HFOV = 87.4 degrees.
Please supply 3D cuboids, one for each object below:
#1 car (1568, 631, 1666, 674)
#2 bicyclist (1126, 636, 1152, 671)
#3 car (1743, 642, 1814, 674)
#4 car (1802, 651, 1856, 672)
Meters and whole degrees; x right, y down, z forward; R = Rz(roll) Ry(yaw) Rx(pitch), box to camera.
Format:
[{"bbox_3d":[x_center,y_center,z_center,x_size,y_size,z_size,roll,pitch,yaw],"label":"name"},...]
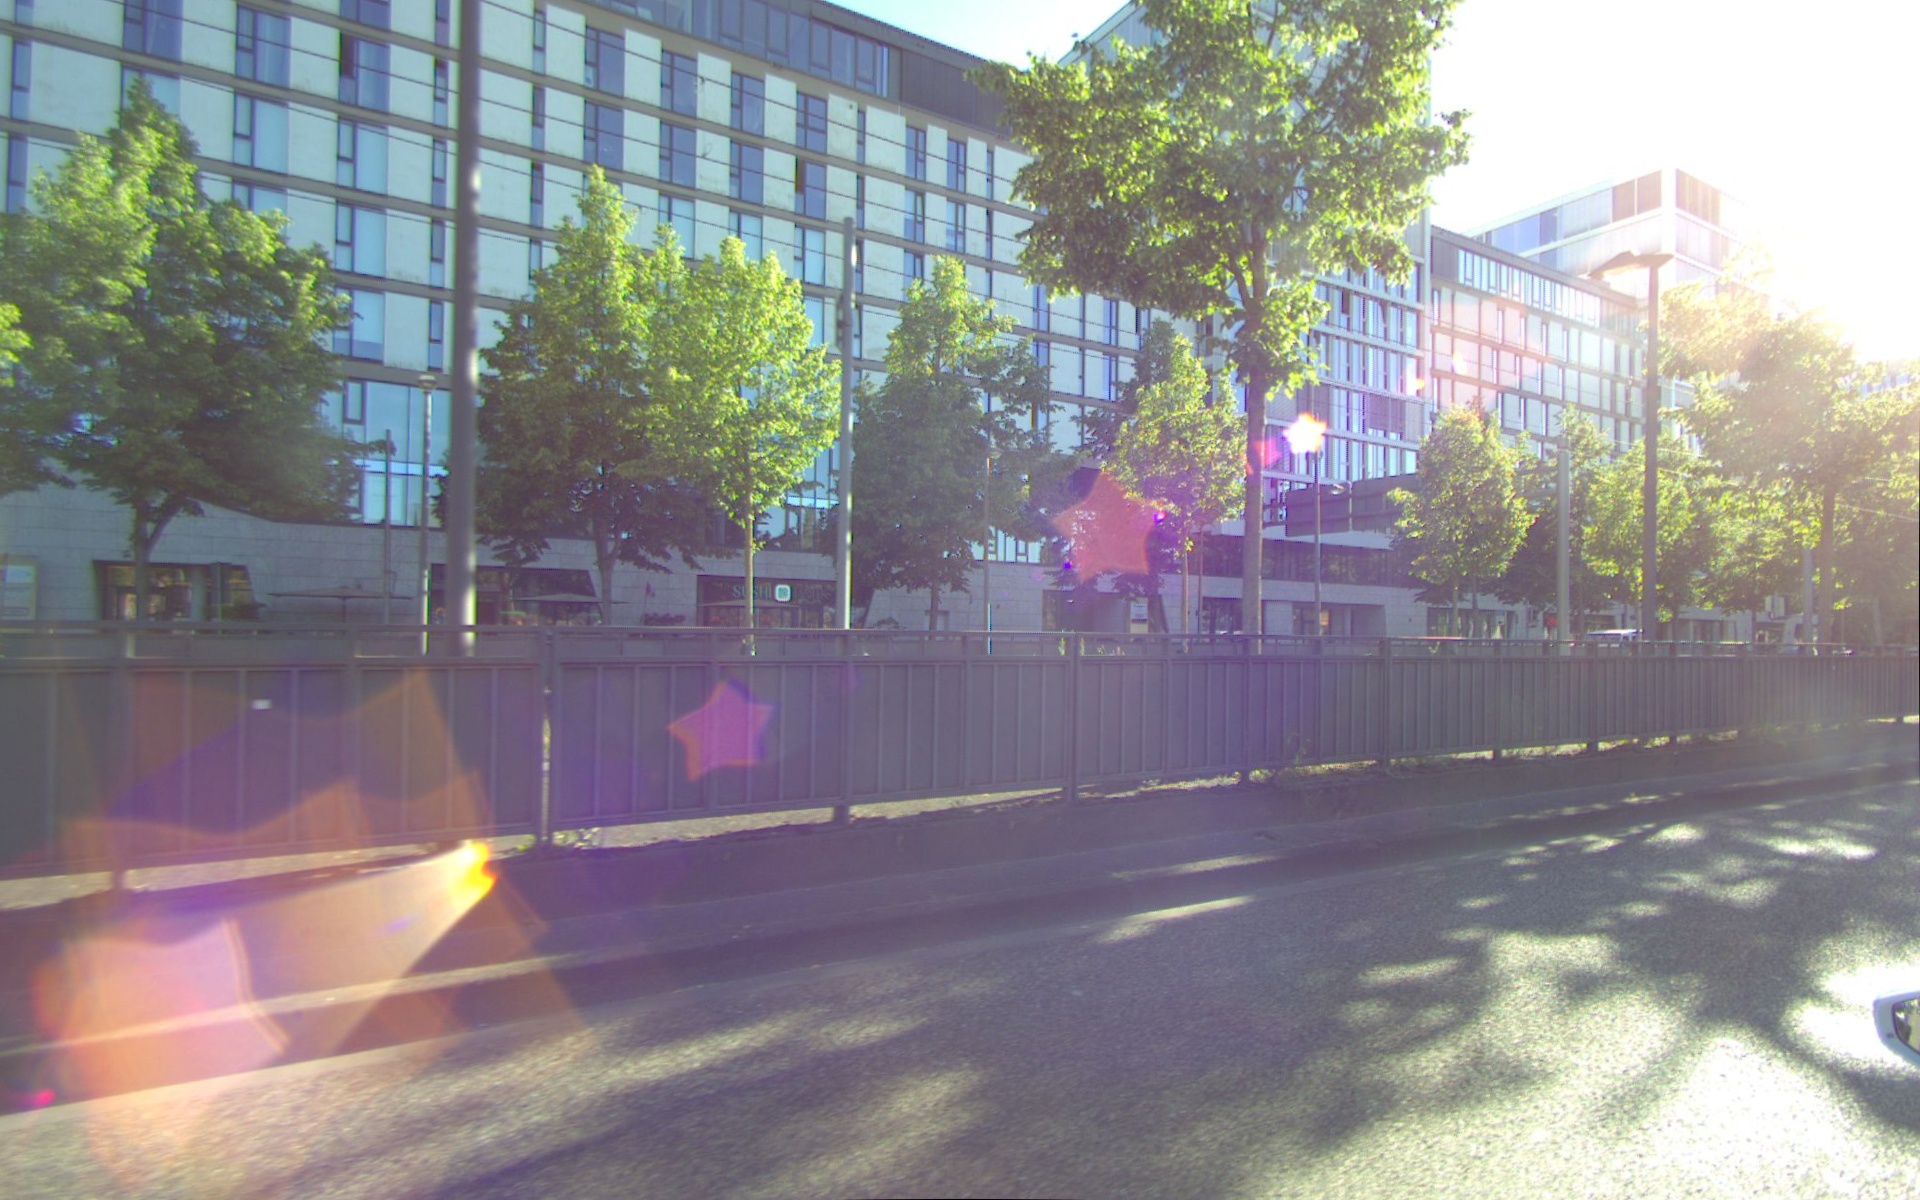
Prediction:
[{"bbox_3d":[28.486,2.282,43.540,4.179,1.773,1.984,2,-3,-31],"label":"car"},{"bbox_3d":[7.674,2.297,43.008,0.821,1.483,0.717,2,-1,-28],"label":"bicyclist"},{"bbox_3d":[41.407,2.921,50.826,3.658,1.540,1.670,2,-2,-31],"label":"car"},{"bbox_3d":[65.043,4.587,75.175,4.750,1.438,1.659,2,-2,-31],"label":"car"}]
